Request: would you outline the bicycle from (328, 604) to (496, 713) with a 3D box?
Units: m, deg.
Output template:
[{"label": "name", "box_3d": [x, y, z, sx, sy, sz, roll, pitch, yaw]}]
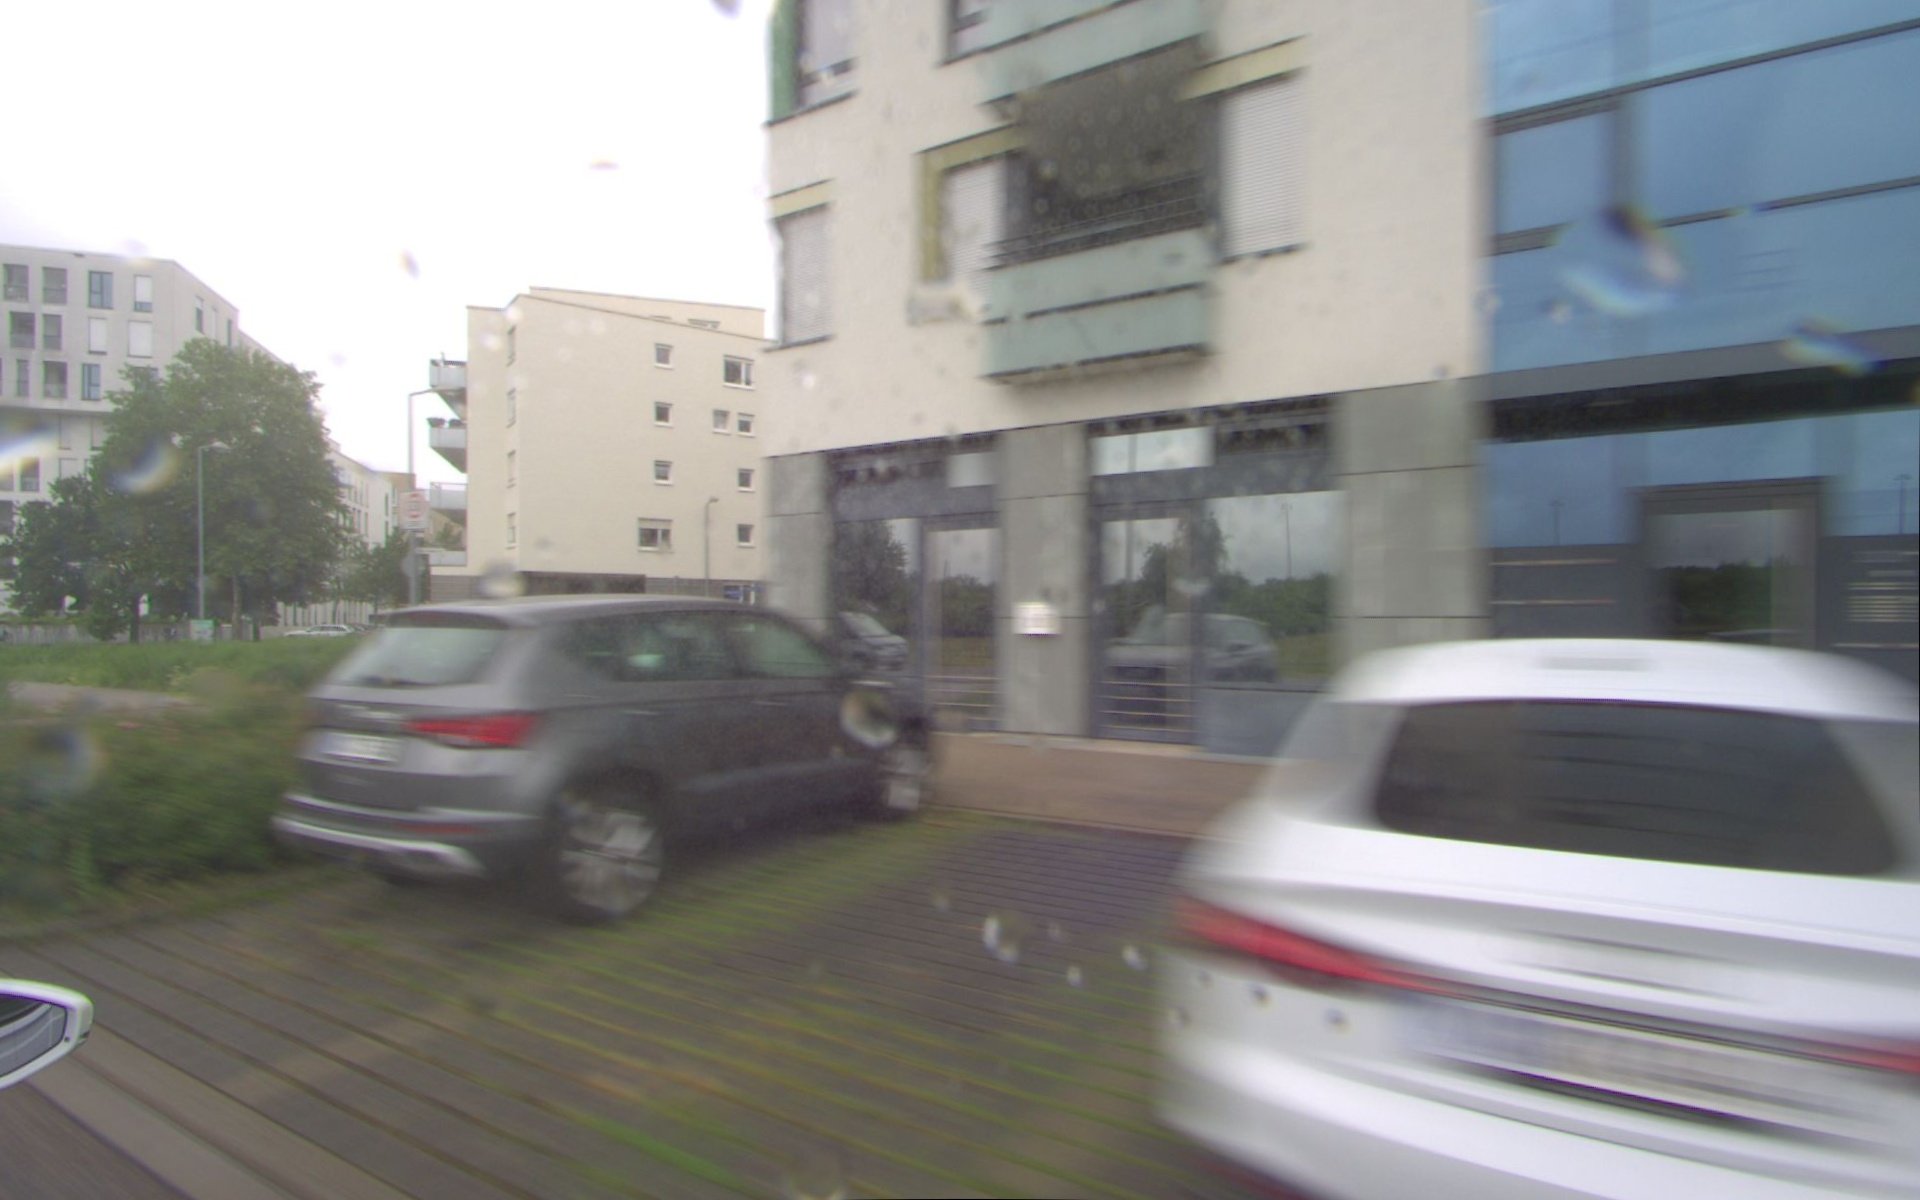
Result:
[{"label": "bicycle", "box_3d": [-8.265, 0.845, 15.165, 2.169, 1.542, 0.625, 0, 0, -38]}]

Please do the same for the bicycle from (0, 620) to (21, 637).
[{"label": "bicycle", "box_3d": [-60.133, 1.780, 63.006, 0.712, 1.046, 2.069, 1, -1, -19]}]

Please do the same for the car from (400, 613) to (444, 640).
[{"label": "car", "box_3d": [-32.575, 1.607, 60.736, 1.705, 1.568, 3.992, 1, -2, -19]}]

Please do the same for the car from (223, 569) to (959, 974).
[{"label": "car", "box_3d": [-1.864, 0.708, 6.327, 1.937, 1.645, 4.083, 0, 0, 30]}]

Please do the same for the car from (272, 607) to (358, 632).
[{"label": "car", "box_3d": [-45.433, 1.416, 70.629, 4.753, 1.526, 1.622, 3, -1, -18]}]

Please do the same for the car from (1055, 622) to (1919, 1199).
[{"label": "car", "box_3d": [2.136, 0.858, 3.550, 1.882, 1.424, 4.401, 0, 1, 31]}]

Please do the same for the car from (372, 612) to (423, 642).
[{"label": "car", "box_3d": [-30.690, 1.479, 54.762, 1.705, 1.568, 4.112, 1, -1, -19]}]
